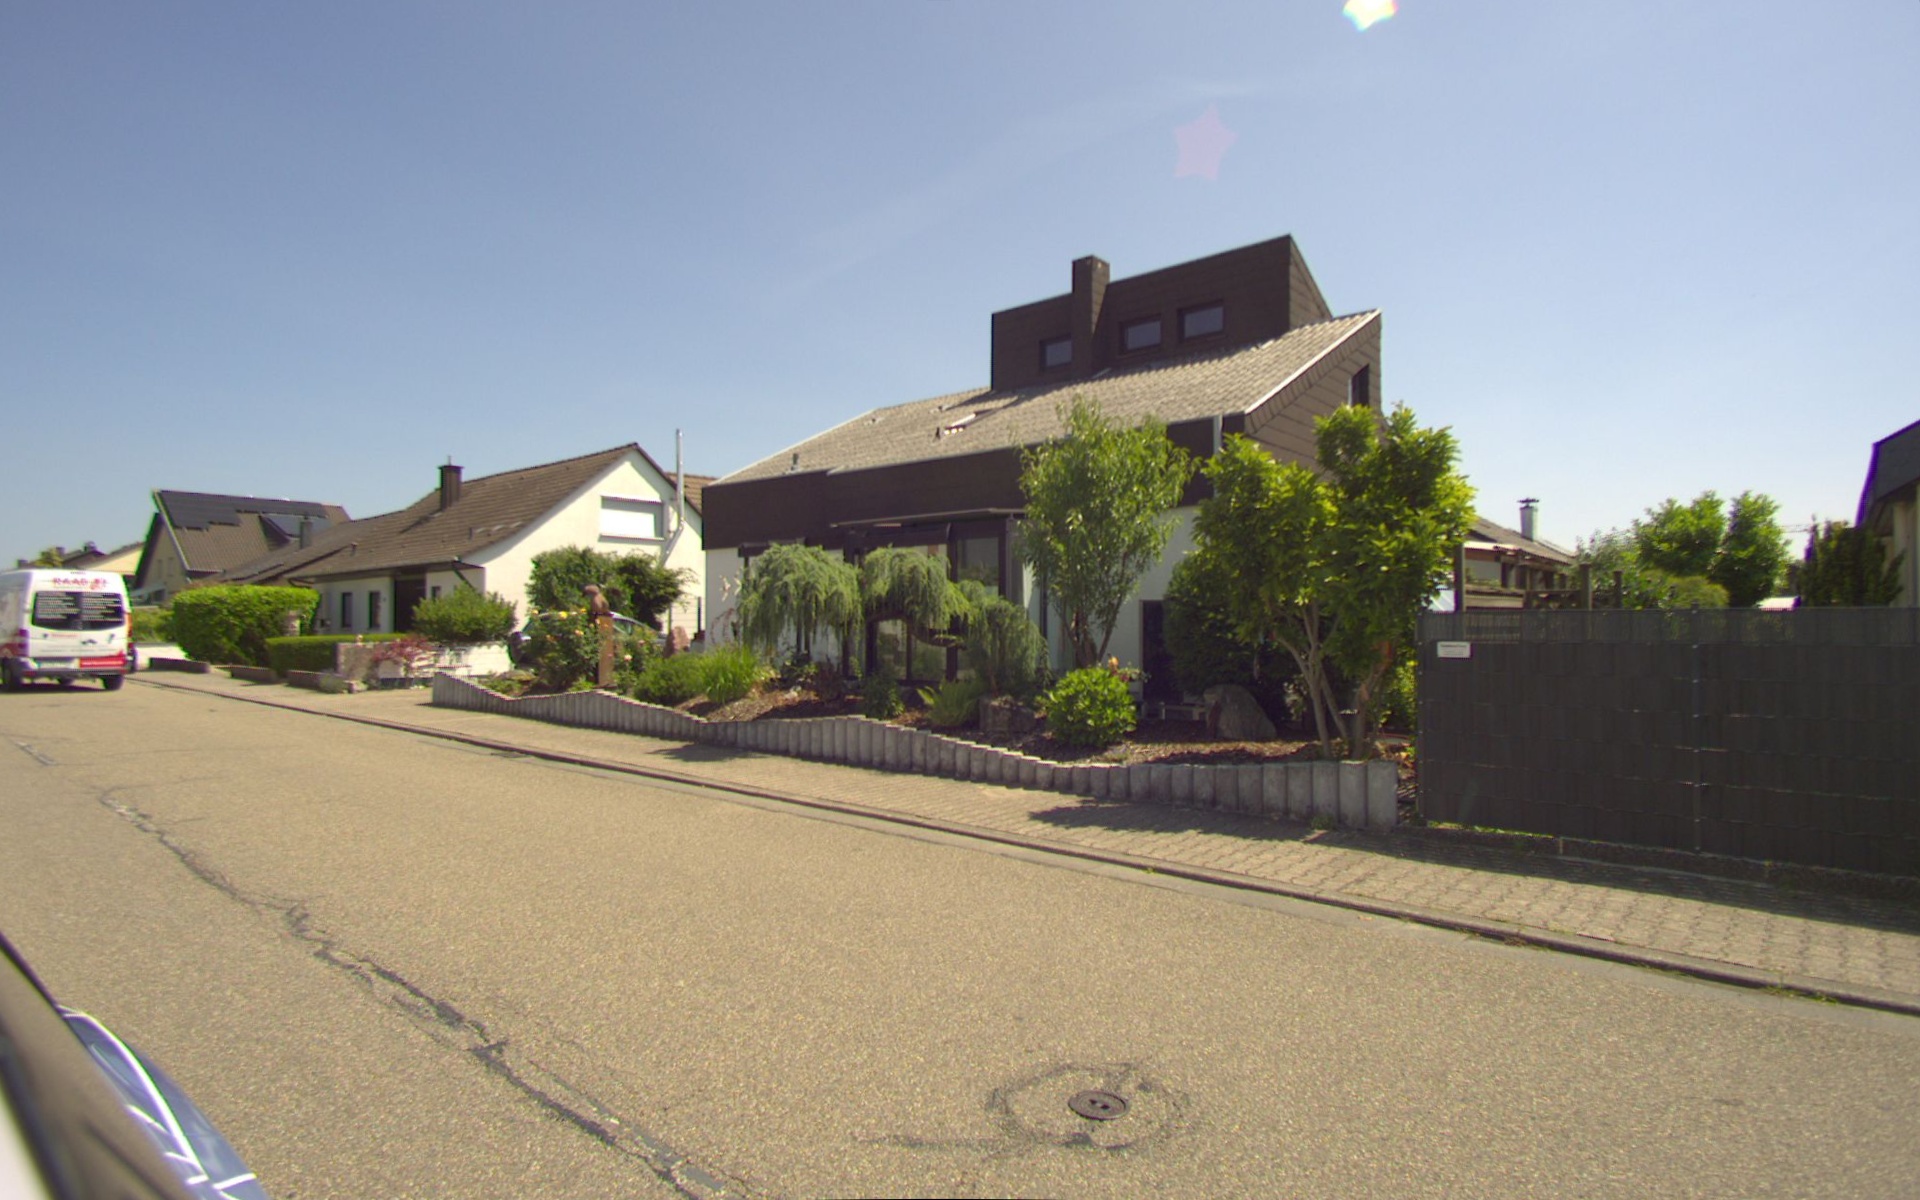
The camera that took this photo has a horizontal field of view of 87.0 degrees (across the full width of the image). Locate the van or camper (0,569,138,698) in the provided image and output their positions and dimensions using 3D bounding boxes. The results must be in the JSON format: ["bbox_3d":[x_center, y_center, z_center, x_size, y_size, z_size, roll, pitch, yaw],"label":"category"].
[{"bbox_3d":[-20.435,0.730,22.509,4.591,2.611,2.047,-1,-2,34],"label":"van or camper"}]

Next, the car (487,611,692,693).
[{"bbox_3d":[-8.295,1.131,22.916,1.901,1.697,3.947,-1,-2,39],"label":"car"}]
